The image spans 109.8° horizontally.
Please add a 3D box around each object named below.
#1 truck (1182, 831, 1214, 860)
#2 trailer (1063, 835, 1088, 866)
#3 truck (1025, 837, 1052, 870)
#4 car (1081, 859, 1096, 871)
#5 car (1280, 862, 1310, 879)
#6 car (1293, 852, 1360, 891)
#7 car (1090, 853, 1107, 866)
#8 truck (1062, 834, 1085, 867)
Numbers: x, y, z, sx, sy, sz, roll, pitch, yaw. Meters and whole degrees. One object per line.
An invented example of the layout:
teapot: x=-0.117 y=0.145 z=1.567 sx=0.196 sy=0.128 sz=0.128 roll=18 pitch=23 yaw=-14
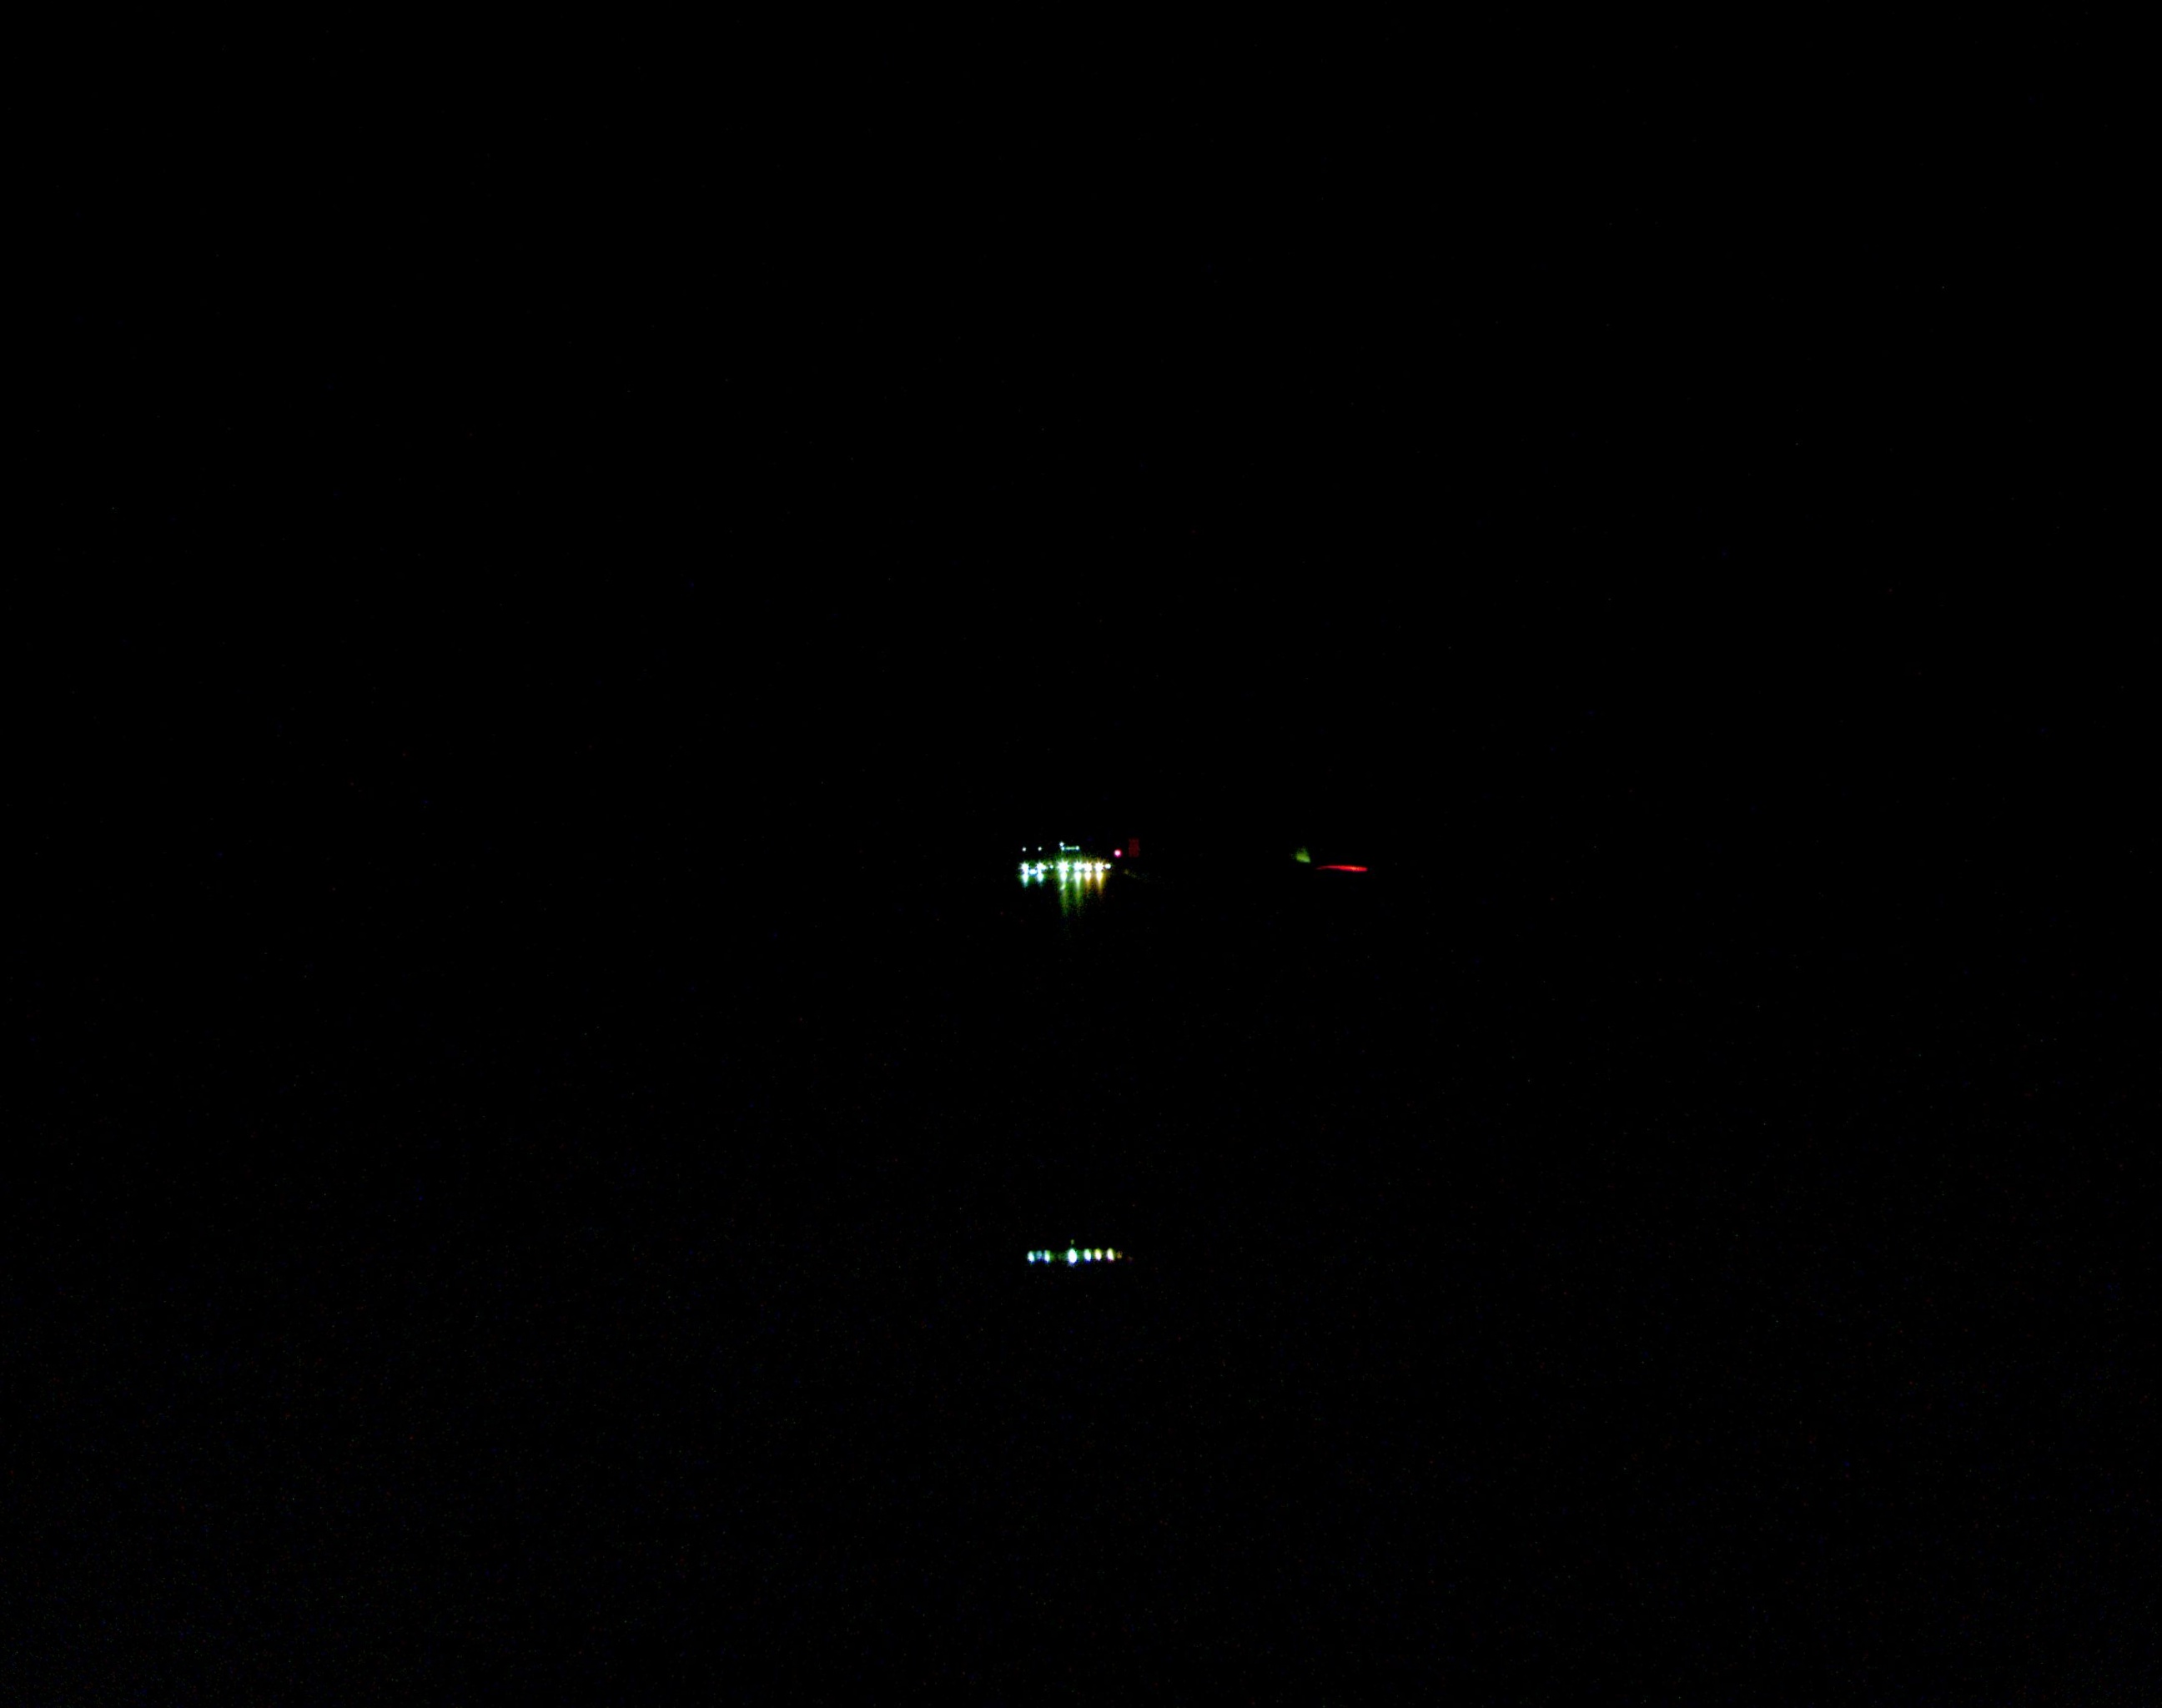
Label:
truck: x=18.554 y=-1.148 z=121.507 sx=3.120 sy=4.178 sz=16.983 roll=1 pitch=-1 yaw=2
trailer: x=-0.660 y=-0.388 z=112.307 sx=2.749 sy=4.181 sz=13.514 roll=-3 pitch=-1 yaw=3
truck: x=-5.499 y=-0.021 z=99.099 sx=2.597 sy=4.048 sz=7.675 roll=-3 pitch=-1 yaw=3
car: x=0.923 y=1.286 z=91.707 sx=1.701 sy=1.379 sz=3.502 roll=-3 pitch=-1 yaw=1
car: x=17.467 y=1.334 z=62.062 sx=1.428 sy=1.324 sz=3.629 roll=-3 pitch=0 yaw=0
car: x=12.554 y=0.825 z=39.178 sx=1.796 sy=1.674 sz=5.168 roll=-3 pitch=2 yaw=0
car: x=2.187 y=0.643 z=92.881 sx=1.825 sy=1.457 sz=4.249 roll=-3 pitch=-1 yaw=3
truck: x=-1.020 y=-0.429 z=105.049 sx=2.668 sy=4.181 sz=6.724 roll=-3 pitch=-1 yaw=3
